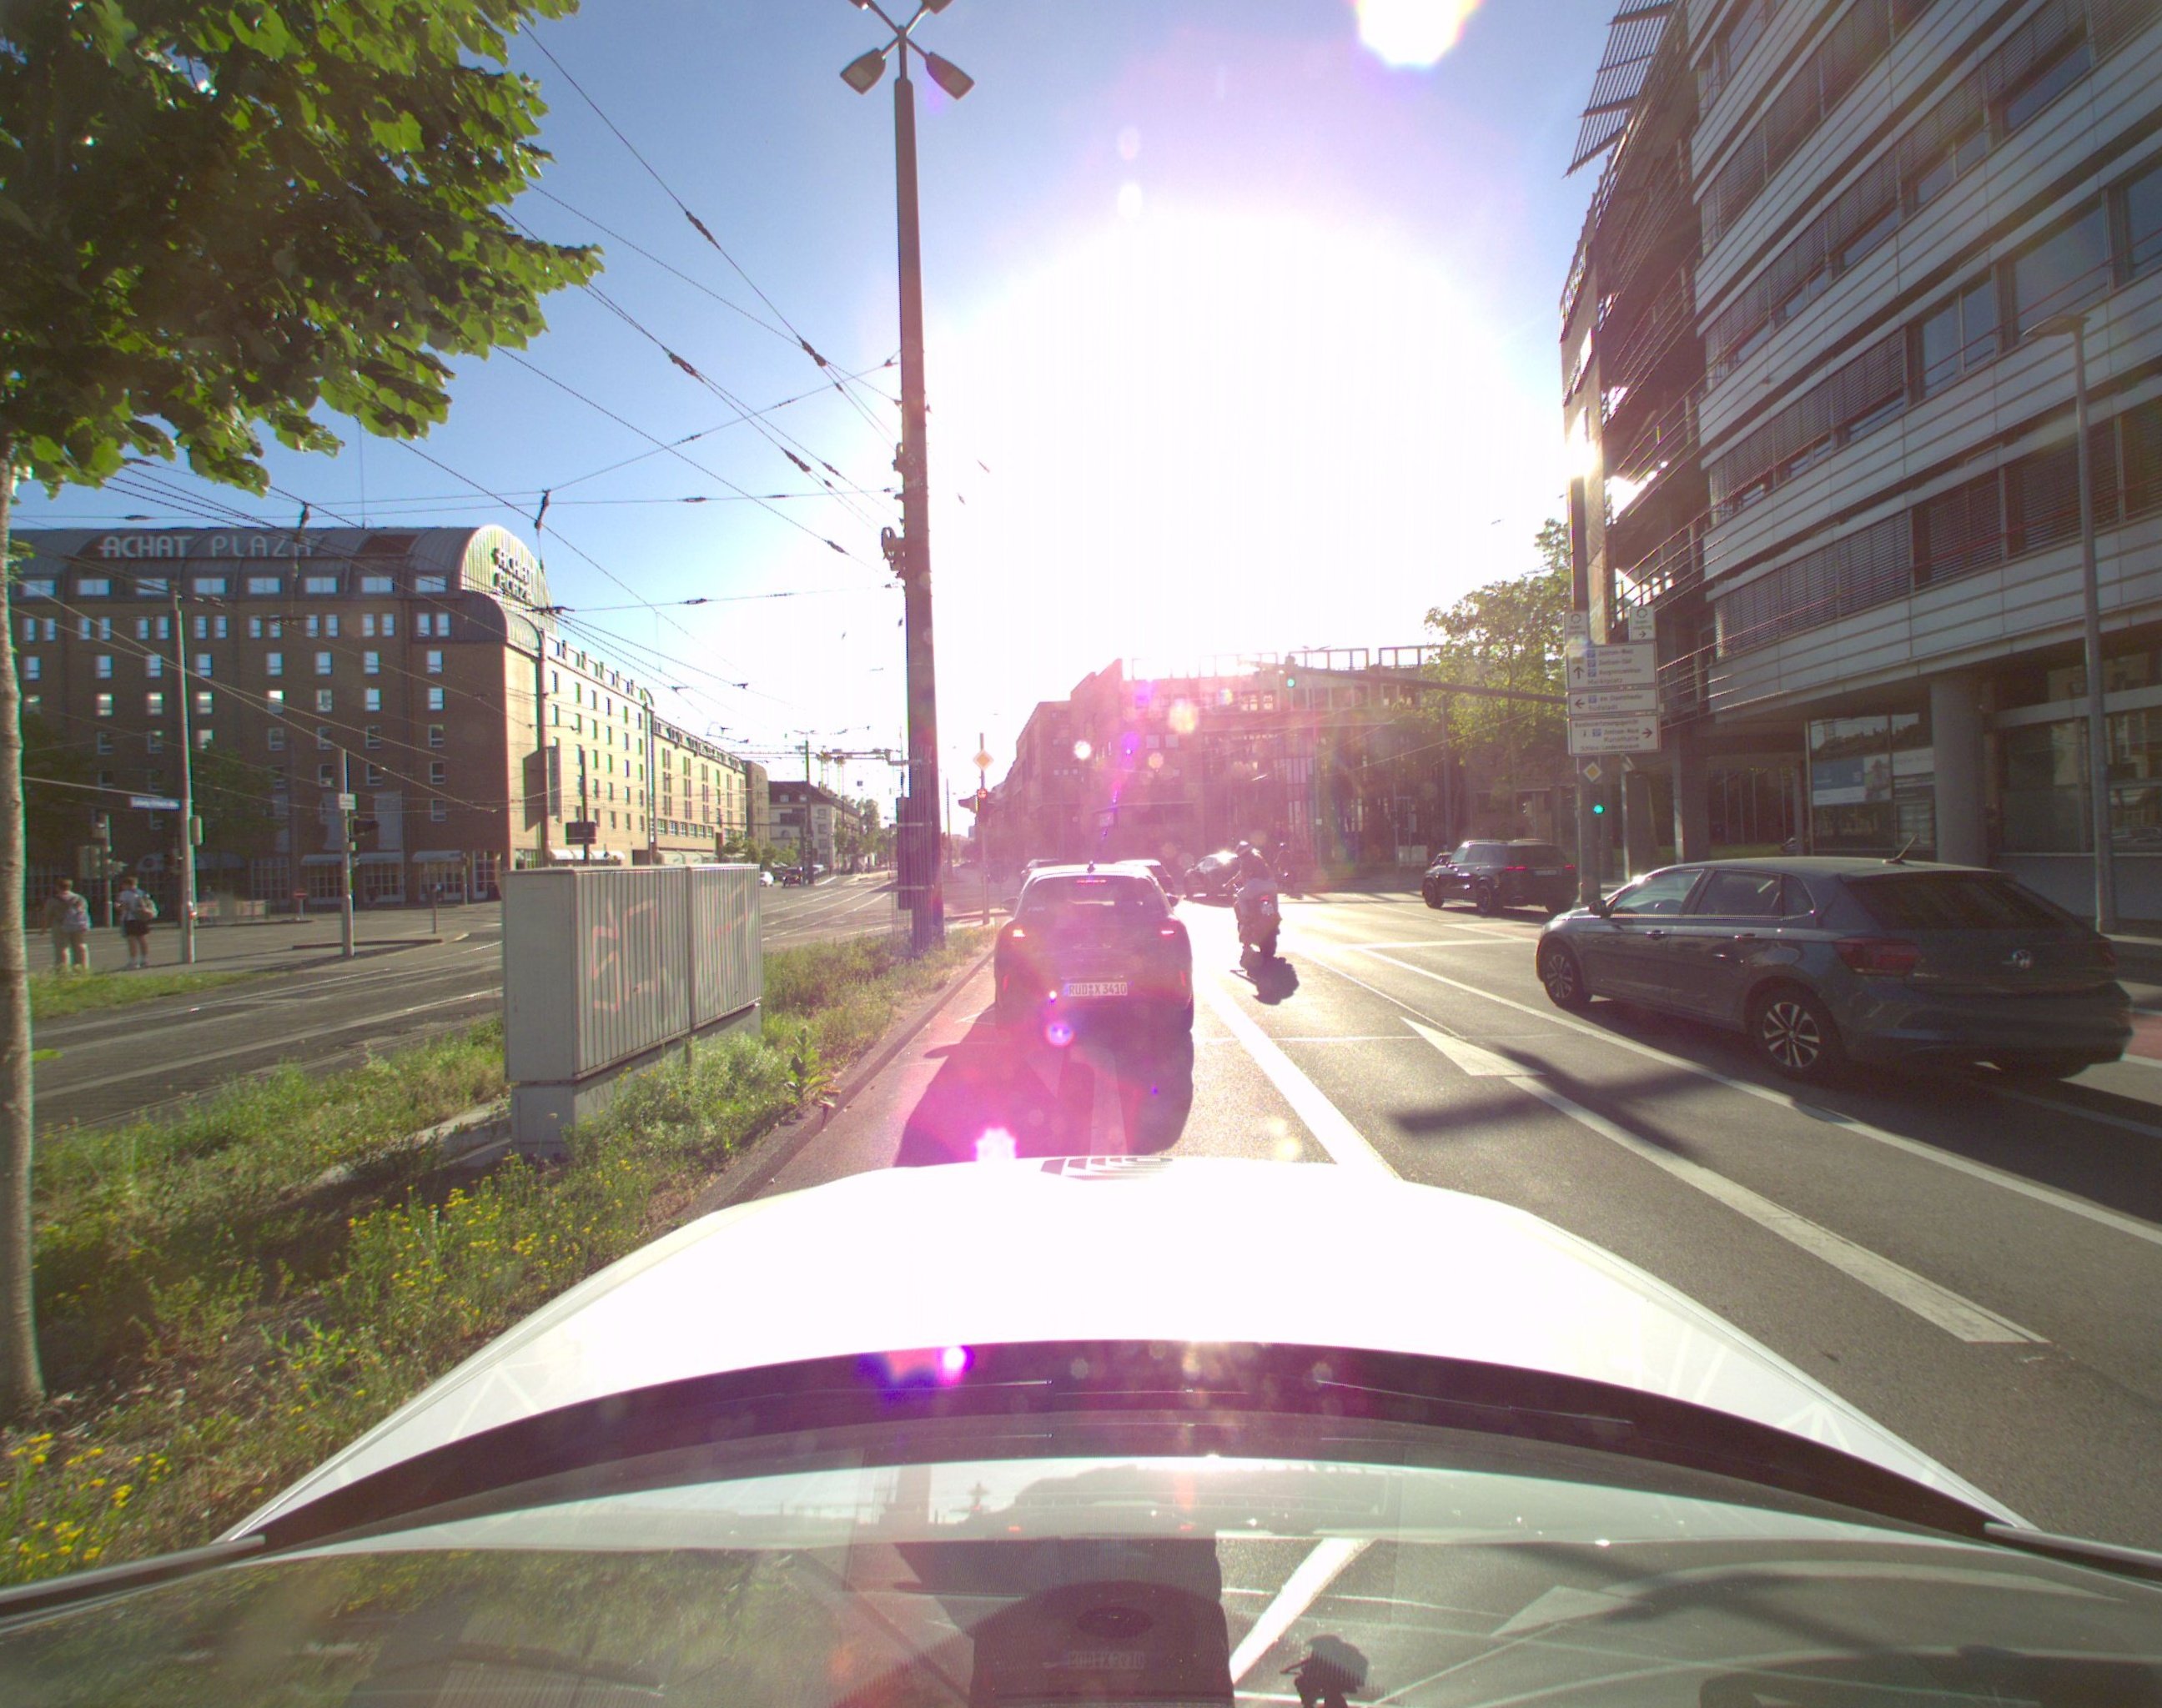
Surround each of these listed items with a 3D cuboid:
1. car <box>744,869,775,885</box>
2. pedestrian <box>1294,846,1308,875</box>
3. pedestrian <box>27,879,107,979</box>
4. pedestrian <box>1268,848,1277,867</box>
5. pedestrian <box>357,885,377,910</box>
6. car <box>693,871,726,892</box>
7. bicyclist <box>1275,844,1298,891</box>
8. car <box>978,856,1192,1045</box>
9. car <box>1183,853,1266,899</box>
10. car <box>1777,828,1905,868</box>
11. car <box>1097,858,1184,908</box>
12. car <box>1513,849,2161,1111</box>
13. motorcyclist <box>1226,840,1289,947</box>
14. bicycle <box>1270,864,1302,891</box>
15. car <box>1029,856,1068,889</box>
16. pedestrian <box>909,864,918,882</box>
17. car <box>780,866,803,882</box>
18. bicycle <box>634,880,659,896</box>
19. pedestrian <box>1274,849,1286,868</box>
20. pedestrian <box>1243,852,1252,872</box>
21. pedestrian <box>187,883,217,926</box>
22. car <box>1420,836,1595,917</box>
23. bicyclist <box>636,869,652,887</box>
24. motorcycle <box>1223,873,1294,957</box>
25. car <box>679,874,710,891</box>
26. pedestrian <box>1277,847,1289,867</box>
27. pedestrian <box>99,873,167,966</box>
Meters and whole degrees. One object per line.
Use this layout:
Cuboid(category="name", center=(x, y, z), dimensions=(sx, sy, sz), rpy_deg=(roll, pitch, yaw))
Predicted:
Cuboid(category="car", center=(-31.292, 2.225, 79.350), dimensions=(1.569, 1.449, 3.996), rpy_deg=(-2, 0, -3))
Cuboid(category="pedestrian", center=(13.404, 0.397, 49.634), dimensions=(0.700, 1.759, 0.564), rpy_deg=(-2, 0, 27))
Cuboid(category="pedestrian", center=(-19.356, 1.412, 15.557), dimensions=(0.630, 1.830, 0.662), rpy_deg=(-2, 0, -5))
Cuboid(category="pedestrian", center=(16.573, 0.300, 70.473), dimensions=(0.733, 1.617, 0.562), rpy_deg=(-2, 0, 10))
Cuboid(category="pedestrian", center=(-45.712, 2.784, 52.149), dimensions=(0.674, 1.503, 0.659), rpy_deg=(-2, 0, -2))
Cuboid(category="car", center=(-29.186, 2.118, 64.032), dimensions=(1.748, 1.505, 3.860), rpy_deg=(-2, 0, -15))
Cuboid(category="bicyclist", center=(7.965, 0.530, 31.614), dimensions=(0.576, 1.791, 0.863), rpy_deg=(-2, 0, -3))
Cuboid(category="car", center=(0.126, 0.766, 8.396), dimensions=(1.642, 1.433, 4.003), rpy_deg=(-2, 0, 3))
Cuboid(category="car", center=(4.904, 0.721, 28.453), dimensions=(1.805, 1.457, 3.991), rpy_deg=(-1, 0, -6))
Cuboid(category="car", center=(32.537, -0.239, 34.919), dimensions=(3.982, 1.651, 1.861), rpy_deg=(-1, 0, -6))
Cuboid(category="car", center=(1.725, 0.826, 25.060), dimensions=(1.737, 1.349, 3.986), rpy_deg=(-2, 0, -10))
Cuboid(category="car", center=(5.475, 0.714, 6.624), dimensions=(1.801, 1.457, 3.999), rpy_deg=(-1, 0, 0))
Cuboid(category="motorcyclist", center=(2.653, 0.568, 12.316), dimensions=(0.741, 1.530, 1.022), rpy_deg=(-2, 0, 4))
Cuboid(category="bicycle", center=(7.975, 0.899, 31.749), dimensions=(0.490, 0.997, 2.325), rpy_deg=(-2, 0, -3))
Cuboid(category="car", center=(-1.803, 0.965, 44.118), dimensions=(1.736, 1.651, 3.989), rpy_deg=(-2, 0, -8))
Cuboid(category="pedestrian", center=(-16.302, 1.843, 79.175), dimensions=(0.768, 1.640, 0.739), rpy_deg=(-2, 0, -20))
Cuboid(category="car", center=(-28.565, 1.956, 80.398), dimensions=(1.748, 1.505, 3.860), rpy_deg=(-2, 0, -15))
Cuboid(category="bicycle", center=(-33.991, 2.638, 63.778), dimensions=(0.649, 1.085, 2.920), rpy_deg=(-2, 0, -6))
Cuboid(category="pedestrian", center=(16.711, 0.366, 68.519), dimensions=(0.894, 1.617, 0.562), rpy_deg=(-2, 0, 10))
Cuboid(category="pedestrian", center=(12.605, 0.598, 61.768), dimensions=(0.527, 1.430, 0.598), rpy_deg=(-2, 0, 1))
Cuboid(category="pedestrian", center=(-42.456, 2.433, 39.337), dimensions=(0.663, 2.013, 0.678), rpy_deg=(-2, 0, 2))
Cuboid(category="car", center=(10.455, 0.506, 20.403), dimensions=(1.988, 1.750, 4.325), rpy_deg=(-2, 0, -2))
Cuboid(category="bicyclist", center=(-33.956, 1.865, 63.244), dimensions=(0.756, 1.375, 0.949), rpy_deg=(-2, 0, -6))
Cuboid(category="motorcycle", center=(2.673, 0.878, 12.459), dimensions=(0.772, 1.115, 1.971), rpy_deg=(-2, 0, 5))
Cuboid(category="car", center=(-39.960, 2.933, 84.320), dimensions=(1.886, 1.510, 3.984), rpy_deg=(-2, 0, -12))
Cuboid(category="pedestrian", center=(17.166, 0.251, 69.324), dimensions=(0.894, 1.617, 0.562), rpy_deg=(-2, 0, 10))
Cuboid(category="pedestrian", center=(-19.404, 1.320, 16.681), dimensions=(0.562, 1.817, 0.662), rpy_deg=(-2, 0, -5))
